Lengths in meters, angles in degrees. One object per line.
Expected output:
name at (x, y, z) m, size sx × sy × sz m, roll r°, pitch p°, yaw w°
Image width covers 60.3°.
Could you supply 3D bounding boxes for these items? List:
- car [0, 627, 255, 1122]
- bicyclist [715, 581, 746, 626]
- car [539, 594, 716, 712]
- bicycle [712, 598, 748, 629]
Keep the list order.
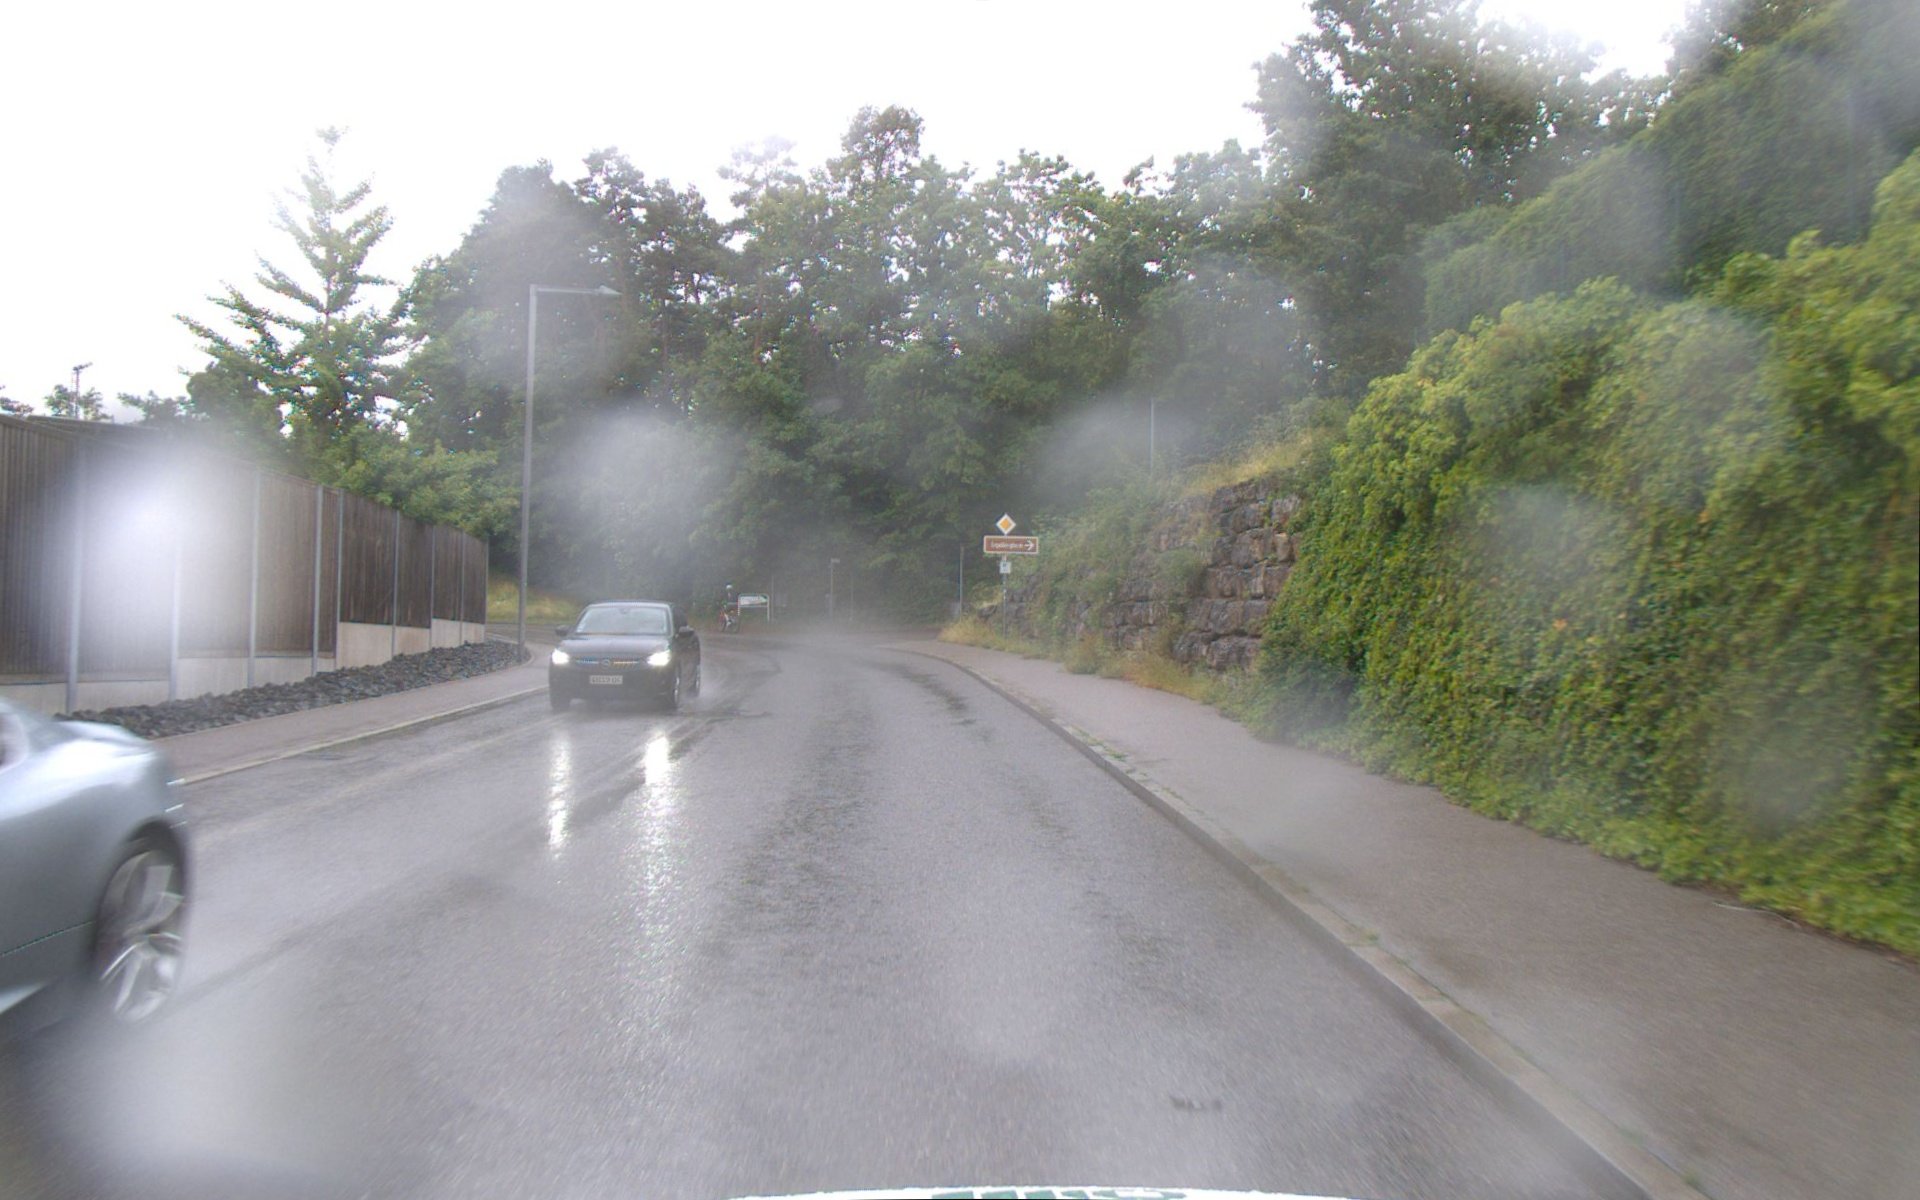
car at (-3.526, 0.759, 4.086) m, size 1.843 × 1.305 × 4.207 m, roll 1°, pitch 0°, yaw -2°
bicyclist at (-8.532, 0.123, 61.506) m, size 0.717 × 1.643 × 0.891 m, roll 2°, pitch 0°, yaw -43°
car at (-4.574, 0.674, 23.323) m, size 1.844 × 1.475 × 4.206 m, roll 1°, pitch 0°, yaw -3°
bicycle at (-8.539, 0.488, 61.497) m, size 0.524 × 1.104 × 1.597 m, roll 2°, pitch 0°, yaw -40°
